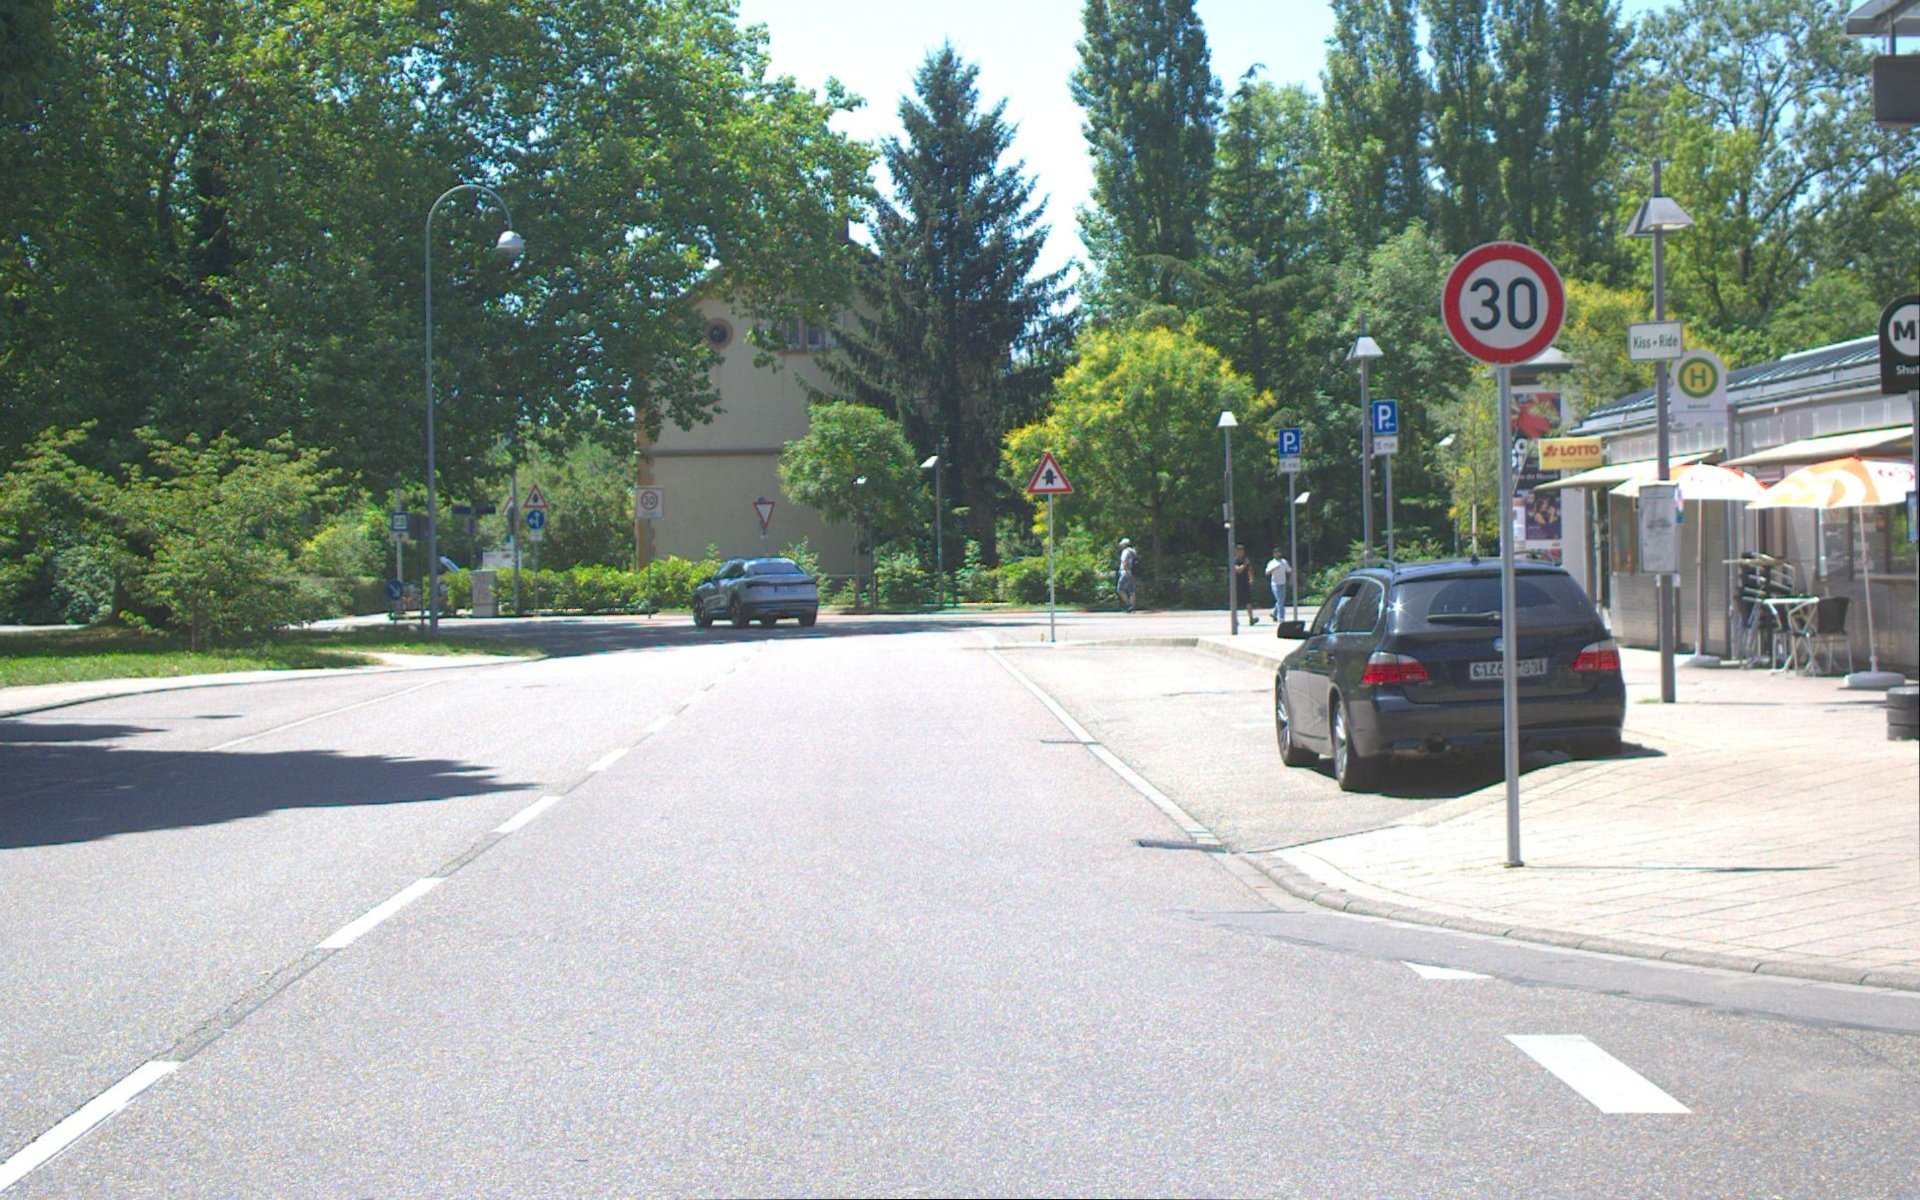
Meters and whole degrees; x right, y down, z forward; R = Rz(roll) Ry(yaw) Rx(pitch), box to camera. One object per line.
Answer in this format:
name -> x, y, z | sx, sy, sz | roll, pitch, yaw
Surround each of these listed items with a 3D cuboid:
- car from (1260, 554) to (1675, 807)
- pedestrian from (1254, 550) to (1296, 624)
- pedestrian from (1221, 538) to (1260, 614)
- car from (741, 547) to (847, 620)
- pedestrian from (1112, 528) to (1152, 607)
car -> 3.360, 0.476, 23.718 | 1.926, 1.455, 4.725 | -4, 1, -2
pedestrian -> 7.060, -0.288, 77.114 | 0.721, 1.644, 0.750 | -1, -2, 27
pedestrian -> 6.172, -0.527, 75.637 | 0.636, 1.644, 0.750 | -1, -2, 27
car -> -3.924, -0.417, 81.948 | 1.983, 1.621, 4.778 | -1, 1, 4
pedestrian -> 4.279, -0.811, 85.431 | 0.854, 1.959, 0.806 | -1, 0, 12
